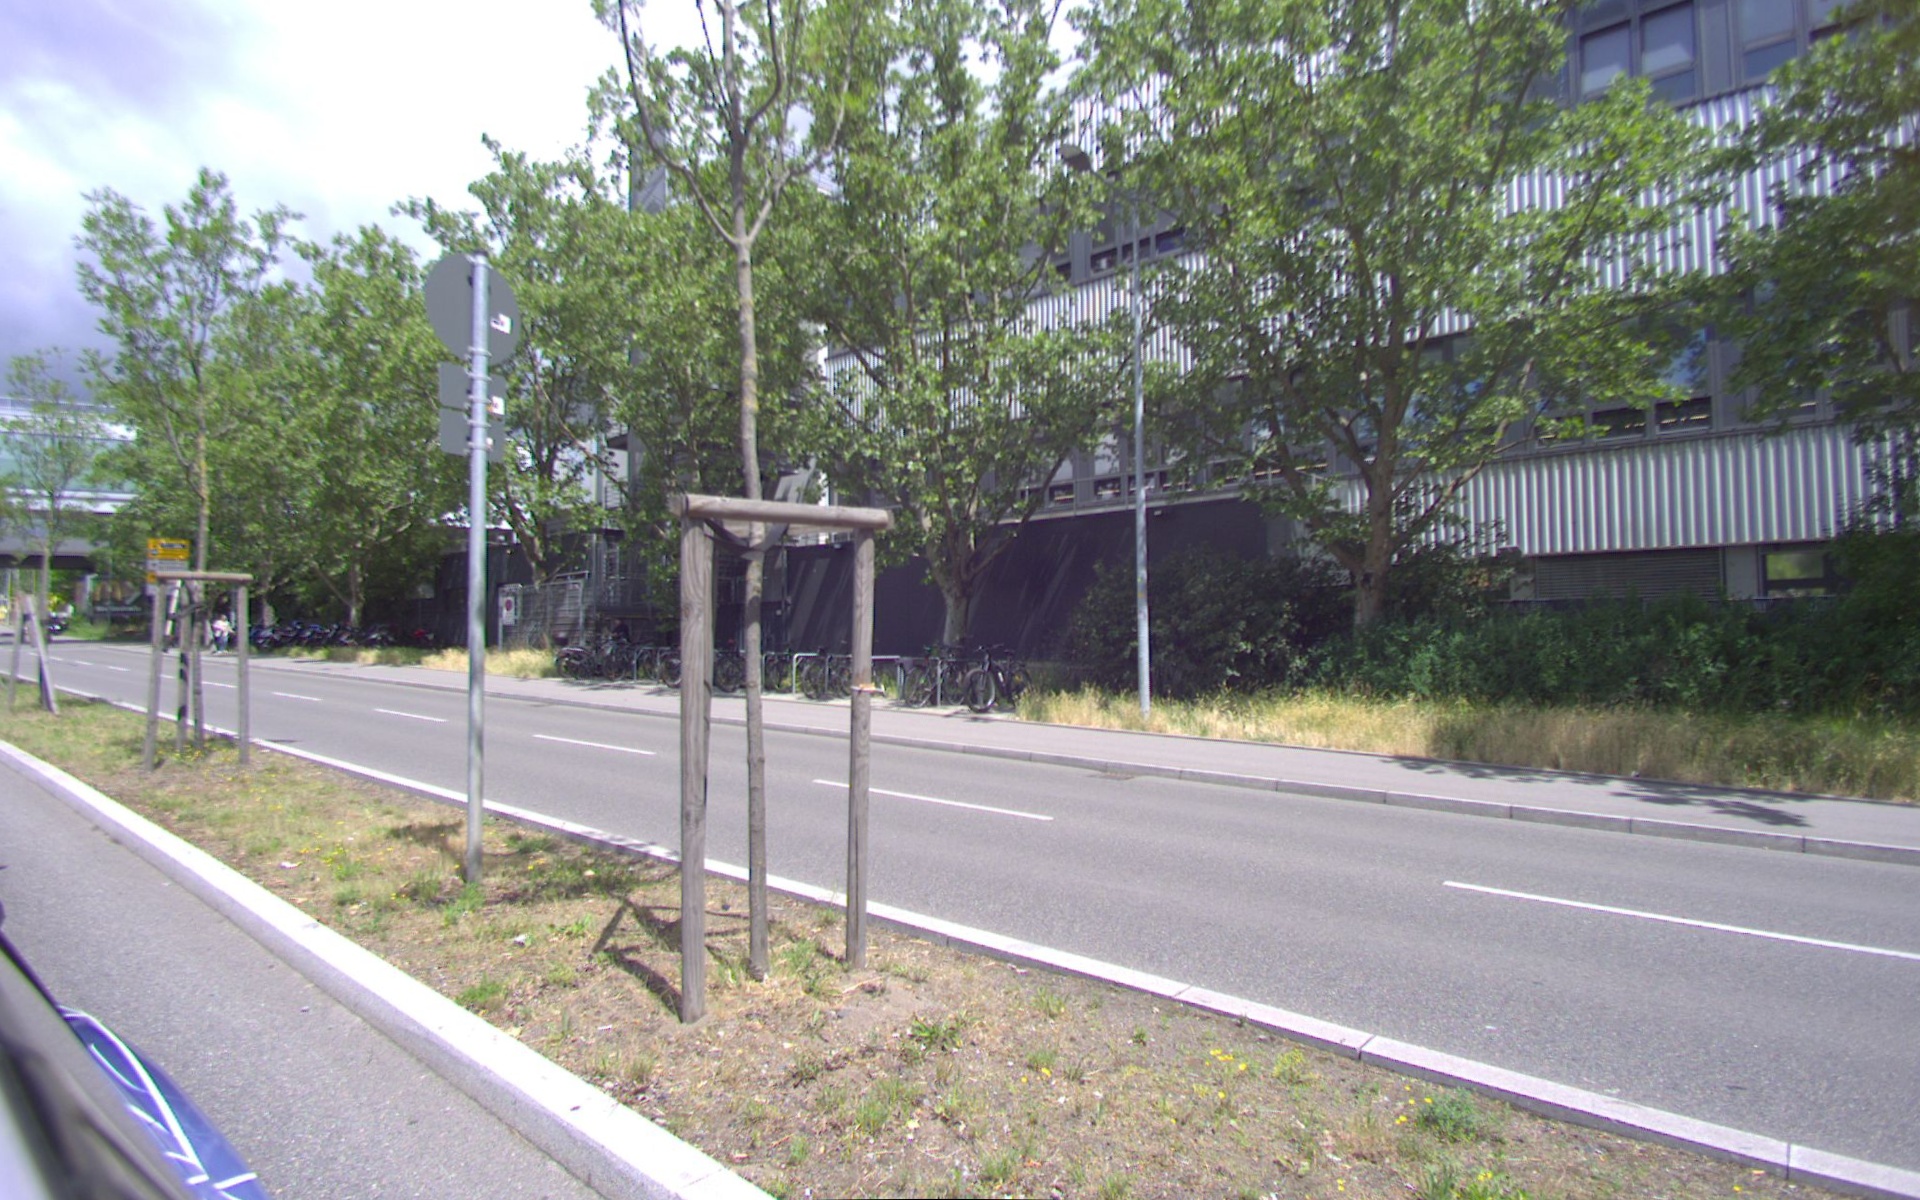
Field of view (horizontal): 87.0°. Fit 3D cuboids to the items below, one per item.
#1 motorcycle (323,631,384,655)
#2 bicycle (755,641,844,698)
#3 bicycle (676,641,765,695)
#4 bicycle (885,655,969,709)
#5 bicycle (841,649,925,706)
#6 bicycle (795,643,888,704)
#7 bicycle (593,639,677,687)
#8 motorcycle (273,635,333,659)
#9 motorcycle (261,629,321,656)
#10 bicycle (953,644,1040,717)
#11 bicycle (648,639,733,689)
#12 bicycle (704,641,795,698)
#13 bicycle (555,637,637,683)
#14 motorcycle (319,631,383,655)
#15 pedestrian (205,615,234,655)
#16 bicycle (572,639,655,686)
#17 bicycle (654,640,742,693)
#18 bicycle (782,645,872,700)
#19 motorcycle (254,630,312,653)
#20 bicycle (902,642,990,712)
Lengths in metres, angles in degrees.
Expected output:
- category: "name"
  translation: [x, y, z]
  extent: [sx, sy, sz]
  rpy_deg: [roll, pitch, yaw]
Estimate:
- category: "motorcycle"
  translation: [-25.077, 1.769, 41.864]
  extent: [0.534, 0.892, 2.105]
  rpy_deg: [-2, -1, 41]
- category: "bicycle"
  translation: [-3.415, 1.466, 21.751]
  extent: [0.382, 1.119, 2.101]
  rpy_deg: [-2, -1, 43]
- category: "bicycle"
  translation: [-5.336, 1.499, 22.668]
  extent: [0.382, 1.119, 2.101]
  rpy_deg: [-2, -1, 43]
- category: "bicycle"
  translation: [-0.600, 1.530, 19.222]
  extent: [0.381, 0.897, 1.968]
  rpy_deg: [-2, -1, 39]
- category: "bicycle"
  translation: [-1.472, 1.486, 19.707]
  extent: [0.381, 1.005, 1.968]
  rpy_deg: [-2, -1, 39]
- category: "bicycle"
  translation: [-2.343, 1.445, 20.229]
  extent: [0.382, 1.104, 2.101]
  rpy_deg: [-2, -1, 43]
- category: "bicycle"
  translation: [-8.164, 1.578, 25.538]
  extent: [0.382, 1.119, 2.101]
  rpy_deg: [-2, -1, 43]
- category: "motorcycle"
  translation: [-28.029, 1.987, 43.198]
  extent: [0.534, 0.976, 2.105]
  rpy_deg: [-2, -1, 41]
- category: "motorcycle"
  translation: [-29.118, 1.839, 44.062]
  extent: [0.534, 1.146, 2.105]
  rpy_deg: [-2, -1, 41]
- category: "bicycle"
  translation: [0.657, 1.348, 17.398]
  extent: [0.381, 1.137, 1.968]
  rpy_deg: [-2, -1, 39]
- category: "bicycle"
  translation: [-6.484, 1.522, 24.414]
  extent: [0.382, 1.119, 2.101]
  rpy_deg: [-2, -1, 43]
- category: "bicycle"
  translation: [-4.546, 1.490, 22.017]
  extent: [0.382, 1.119, 2.101]
  rpy_deg: [-2, -1, 43]
- category: "bicycle"
  translation: [-9.549, 1.563, 26.632]
  extent: [0.382, 1.119, 2.101]
  rpy_deg: [-2, -1, 43]
- category: "motorcycle"
  translation: [-23.938, 1.682, 39.835]
  extent: [0.534, 0.905, 2.105]
  rpy_deg: [-2, -1, 41]
- category: "pedestrian"
  translation: [-32.275, 1.525, 44.103]
  extent: [0.672, 1.734, 0.888]
  rpy_deg: [-2, -2, 41]
- category: "bicycle"
  translation: [-8.908, 1.582, 26.086]
  extent: [0.382, 1.119, 2.101]
  rpy_deg: [-2, -1, 43]
- category: "bicycle"
  translation: [-5.993, 1.511, 23.264]
  extent: [0.382, 1.119, 2.101]
  rpy_deg: [-2, -1, 43]
- category: "bicycle"
  translation: [-2.746, 1.489, 21.137]
  extent: [0.382, 1.038, 2.101]
  rpy_deg: [-2, -1, 43]
- category: "motorcycle"
  translation: [-30.110, 1.834, 45.024]
  extent: [0.534, 0.976, 2.105]
  rpy_deg: [-2, -1, 41]
- category: "bicycle"
  translation: [-0.222, 1.345, 18.121]
  extent: [0.381, 1.137, 1.968]
  rpy_deg: [-2, -1, 39]
